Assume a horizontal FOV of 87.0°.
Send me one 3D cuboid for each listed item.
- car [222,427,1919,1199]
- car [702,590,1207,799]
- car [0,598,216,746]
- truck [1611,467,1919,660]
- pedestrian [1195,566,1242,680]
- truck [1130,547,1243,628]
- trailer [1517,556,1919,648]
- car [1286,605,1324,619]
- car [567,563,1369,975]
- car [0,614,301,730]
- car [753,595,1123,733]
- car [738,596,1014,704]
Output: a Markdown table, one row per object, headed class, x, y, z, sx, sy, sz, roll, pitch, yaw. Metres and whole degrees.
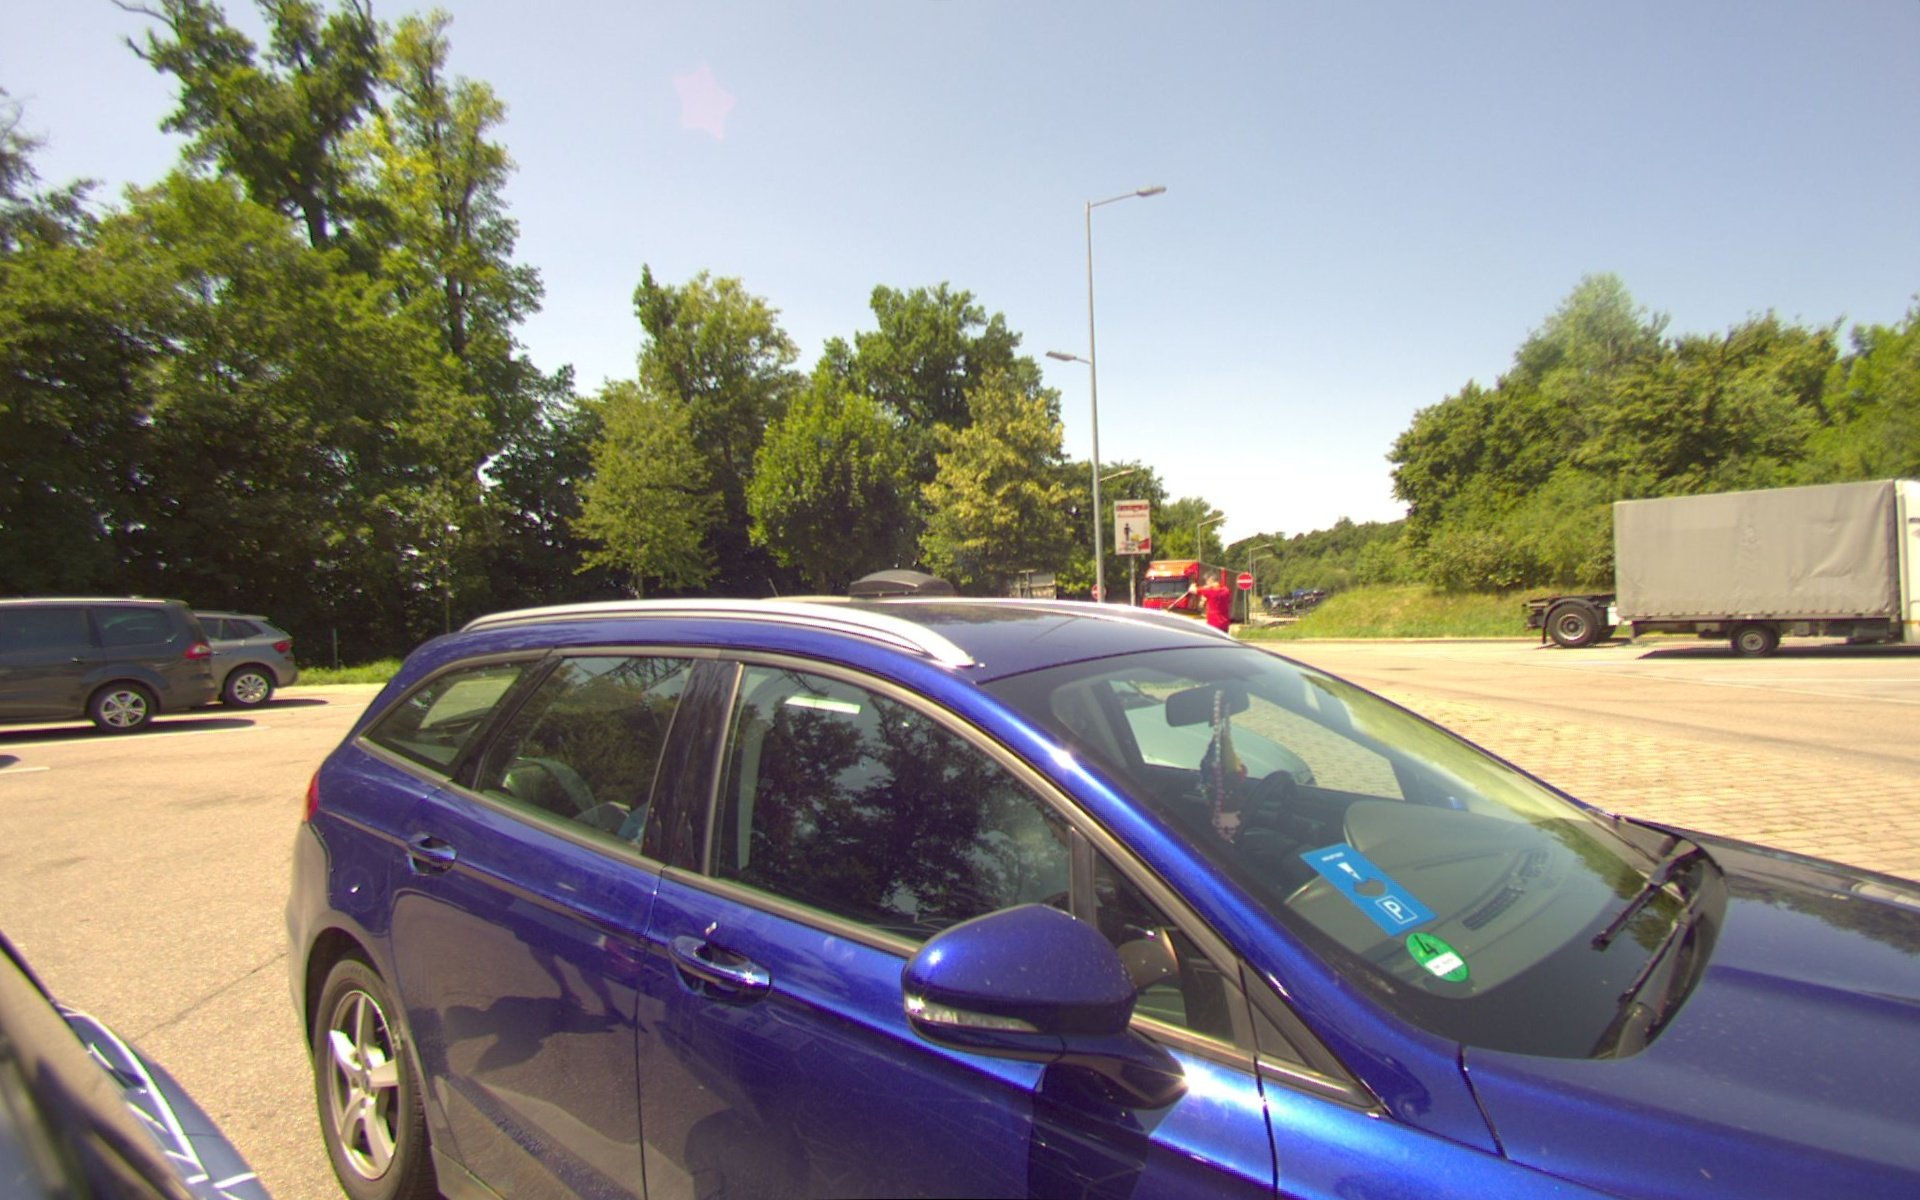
| class | x | y | z | sx | sy | sz | roll | pitch | yaw |
| --- | --- | --- | --- | --- | --- | --- | --- | --- | --- |
| car | 0.254 | 0.661 | 2.140 | 4.490 | 1.502 | 1.851 | -3 | 0 | 40 |
| car | -0.244 | 0.749 | 9.213 | 4.490 | 1.437 | 1.754 | -3 | -1 | 40 |
| car | -11.941 | 0.858 | 12.304 | 4.553 | 1.725 | 1.741 | 0 | -1 | -41 |
| truck | 16.829 | -0.657 | 18.965 | 7.295 | 3.259 | 2.709 | -4 | -1 | 43 |
| pedestrian | 4.048 | 0.358 | 15.895 | 0.669 | 1.746 | 0.830 | -1 | -1 | 14 |
| truck | 13.593 | -0.669 | 59.142 | 3.116 | 4.150 | 15.267 | -1 | 0 | 26 |
| trailer | 17.256 | 0.123 | 23.393 | 7.295 | 1.701 | 2.235 | -4 | -1 | 43 |
| car | 49.426 | 1.707 | 145.257 | 2.396 | 1.820 | 8.007 | -1 | 0 | -3 |
| car | -0.257 | 0.694 | 5.839 | 4.490 | 1.511 | 1.754 | -3 | -1 | 40 |
| car | -12.595 | 1.003 | 15.469 | 1.687 | 1.515 | 3.943 | -1 | 0 | 43 |
| car | -0.384 | 0.774 | 12.761 | 4.485 | 1.437 | 1.756 | -3 | -1 | 36 |
| car | -1.475 | 0.825 | 16.860 | 4.485 | 1.562 | 1.756 | -3 | -1 | 36 |
